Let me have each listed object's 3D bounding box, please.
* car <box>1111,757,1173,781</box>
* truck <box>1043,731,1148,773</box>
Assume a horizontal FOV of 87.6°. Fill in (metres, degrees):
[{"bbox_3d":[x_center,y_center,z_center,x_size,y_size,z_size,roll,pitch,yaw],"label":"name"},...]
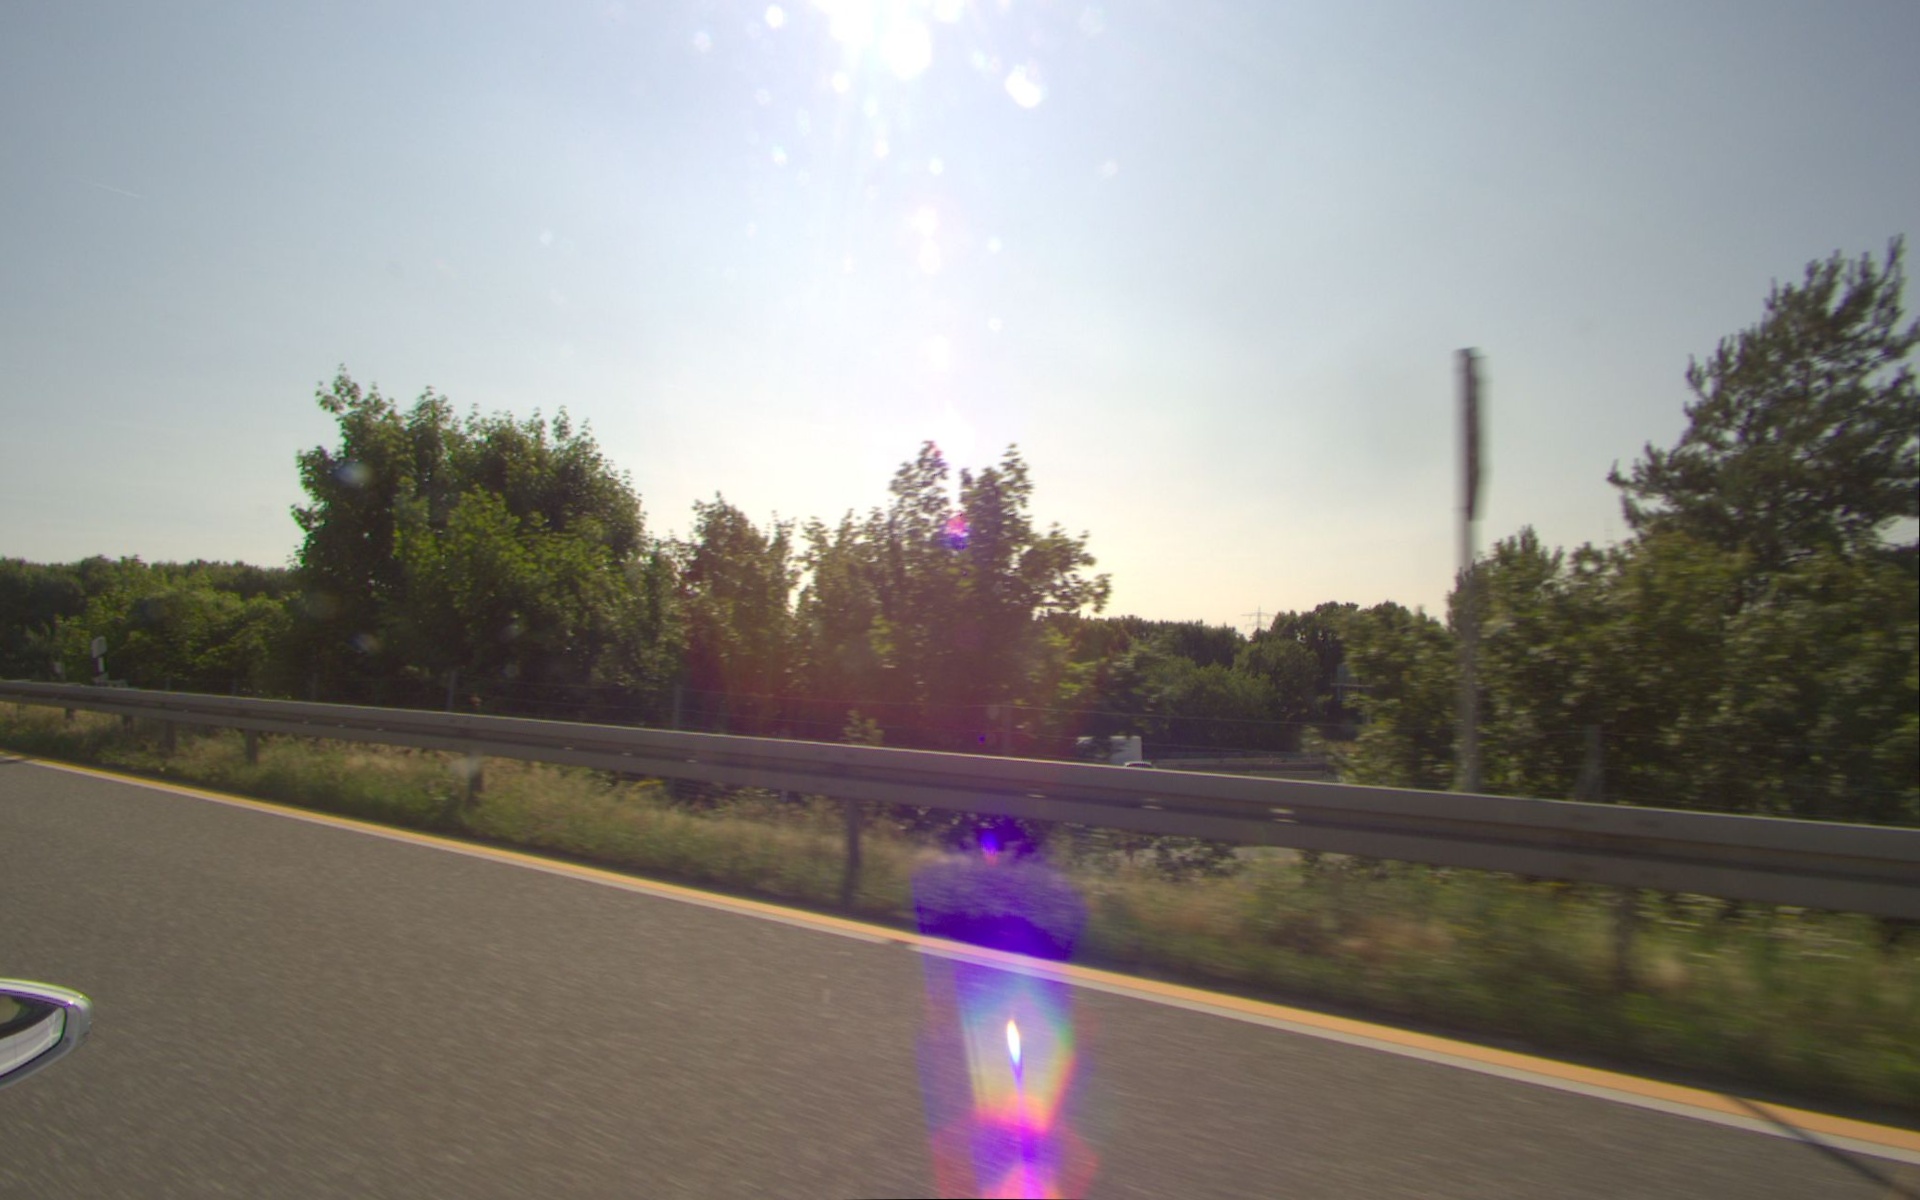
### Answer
[{"bbox_3d":[12.994,12.100,71.620,3.923,1.416,2.000,1,-1,-5],"label":"car"},{"bbox_3d":[9.976,11.184,74.091,7.435,2.827,2.000,1,-1,-6],"label":"truck"}]
